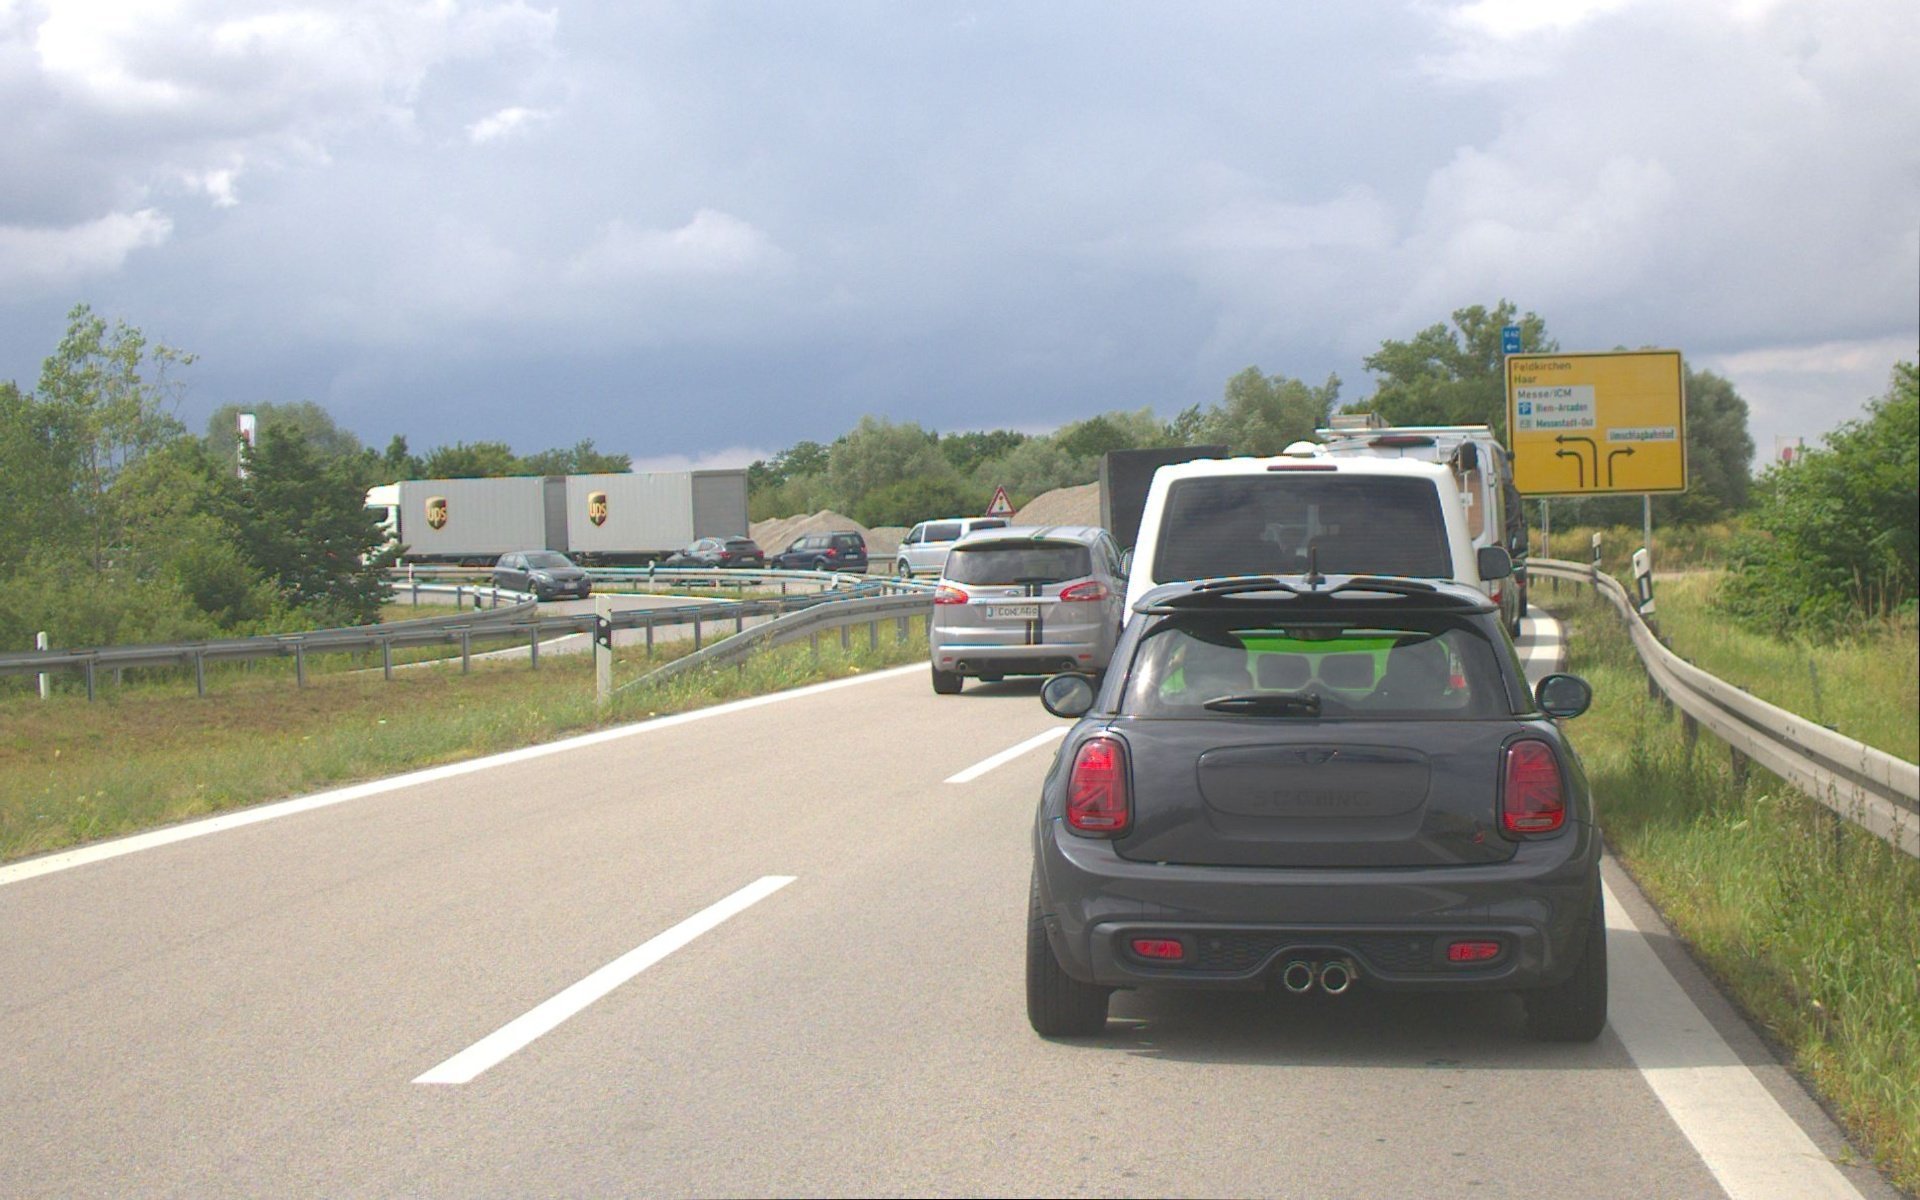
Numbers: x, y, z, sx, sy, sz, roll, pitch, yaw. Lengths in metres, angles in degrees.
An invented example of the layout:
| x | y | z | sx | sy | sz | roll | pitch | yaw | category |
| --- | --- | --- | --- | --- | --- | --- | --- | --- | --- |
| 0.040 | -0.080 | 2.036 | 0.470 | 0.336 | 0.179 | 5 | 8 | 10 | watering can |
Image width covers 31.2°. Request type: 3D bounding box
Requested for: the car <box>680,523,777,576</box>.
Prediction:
| x | y | z | sx | sy | sz | roll | pitch | yaw | category |
| --- | --- | --- | --- | --- | --- | --- | --- | --- | --- |
| -7.890 | -1.707 | 116.863 | 1.812 | 1.750 | 4.000 | 1 | 0 | -28 | car |

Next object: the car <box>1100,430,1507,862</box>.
| x | y | z | sx | sy | sz | roll | pitch | yaw | category |
| --- | --- | --- | --- | --- | --- | --- | --- | --- | --- |
| 1.891 | 0.197 | 18.420 | 1.911 | 2.038 | 4.180 | 0 | 0 | 7 | car |

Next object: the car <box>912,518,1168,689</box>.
| x | y | z | sx | sy | sz | roll | pitch | yaw | category |
| --- | --- | --- | --- | --- | --- | --- | --- | --- | --- |
| 0.890 | 0.029 | 34.676 | 2.022 | 1.572 | 4.585 | -1 | 0 | 8 | car |

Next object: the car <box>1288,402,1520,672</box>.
| x | y | z | sx | sy | sz | roll | pitch | yaw | category |
| --- | --- | --- | --- | --- | --- | --- | --- | --- | --- |
| 4.706 | -0.617 | 36.304 | 2.212 | 2.613 | 5.532 | 1 | 0 | 8 | car |

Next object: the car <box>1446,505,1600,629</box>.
| x | y | z | sx | sy | sz | roll | pitch | yaw | category |
| --- | --- | --- | --- | --- | --- | --- | --- | --- | --- |
| 7.823 | -0.440 | 48.073 | 1.994 | 1.636 | 3.927 | 1 | 0 | 8 | car |

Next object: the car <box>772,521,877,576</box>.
| x | y | z | sx | sy | sz | roll | pitch | yaw | category |
| --- | --- | --- | --- | --- | --- | --- | --- | --- | --- |
| -4.707 | -1.752 | 118.905 | 1.921 | 1.831 | 4.318 | 1 | 0 | -28 | car |

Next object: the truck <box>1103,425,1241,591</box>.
| x | y | z | sx | sy | sz | roll | pitch | yaw | category |
| --- | --- | --- | --- | --- | --- | --- | --- | --- | --- |
| 4.240 | -1.788 | 70.041 | 2.560 | 3.157 | 7.467 | 1 | 0 | 2 | truck |

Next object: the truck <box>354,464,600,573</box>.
| x | y | z | sx | sy | sz | roll | pitch | yaw | category |
| --- | --- | --- | --- | --- | --- | --- | --- | --- | --- |
| -18.411 | -3.076 | 130.657 | 10.018 | 3.962 | 2.839 | 1 | 0 | 36 | truck |

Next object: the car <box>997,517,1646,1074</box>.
| x | y | z | sx | sy | sz | roll | pitch | yaw | category |
| --- | --- | --- | --- | --- | --- | --- | --- | --- | --- |
| 1.151 | 0.522 | 11.515 | 1.800 | 1.541 | 3.738 | 0 | 1 | 4 | car |

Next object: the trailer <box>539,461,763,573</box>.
| x | y | z | sx | sy | sz | roll | pitch | yaw | category |
| --- | --- | --- | --- | --- | --- | --- | --- | --- | --- |
| -11.254 | -2.956 | 124.686 | 8.766 | 3.885 | 3.038 | 1 | 0 | 44 | trailer |

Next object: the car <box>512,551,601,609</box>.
| x | y | z | sx | sy | sz | roll | pitch | yaw | category |
| --- | --- | --- | --- | --- | --- | --- | --- | --- | --- |
| -12.197 | -0.596 | 103.692 | 1.759 | 1.587 | 4.001 | -3 | 0 | -19 | car |

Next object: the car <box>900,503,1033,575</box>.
| x | y | z | sx | sy | sz | roll | pitch | yaw | category |
| --- | --- | --- | --- | --- | --- | --- | --- | --- | --- |
| 0.187 | -1.944 | 111.399 | 2.289 | 2.252 | 5.108 | 1 | 0 | -26 | car |

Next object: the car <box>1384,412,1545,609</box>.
| x | y | z | sx | sy | sz | roll | pitch | yaw | category |
| --- | --- | --- | --- | --- | --- | --- | --- | --- | --- |
| 8.454 | -1.406 | 57.096 | 2.312 | 3.058 | 6.659 | 1 | 0 | 11 | car |
